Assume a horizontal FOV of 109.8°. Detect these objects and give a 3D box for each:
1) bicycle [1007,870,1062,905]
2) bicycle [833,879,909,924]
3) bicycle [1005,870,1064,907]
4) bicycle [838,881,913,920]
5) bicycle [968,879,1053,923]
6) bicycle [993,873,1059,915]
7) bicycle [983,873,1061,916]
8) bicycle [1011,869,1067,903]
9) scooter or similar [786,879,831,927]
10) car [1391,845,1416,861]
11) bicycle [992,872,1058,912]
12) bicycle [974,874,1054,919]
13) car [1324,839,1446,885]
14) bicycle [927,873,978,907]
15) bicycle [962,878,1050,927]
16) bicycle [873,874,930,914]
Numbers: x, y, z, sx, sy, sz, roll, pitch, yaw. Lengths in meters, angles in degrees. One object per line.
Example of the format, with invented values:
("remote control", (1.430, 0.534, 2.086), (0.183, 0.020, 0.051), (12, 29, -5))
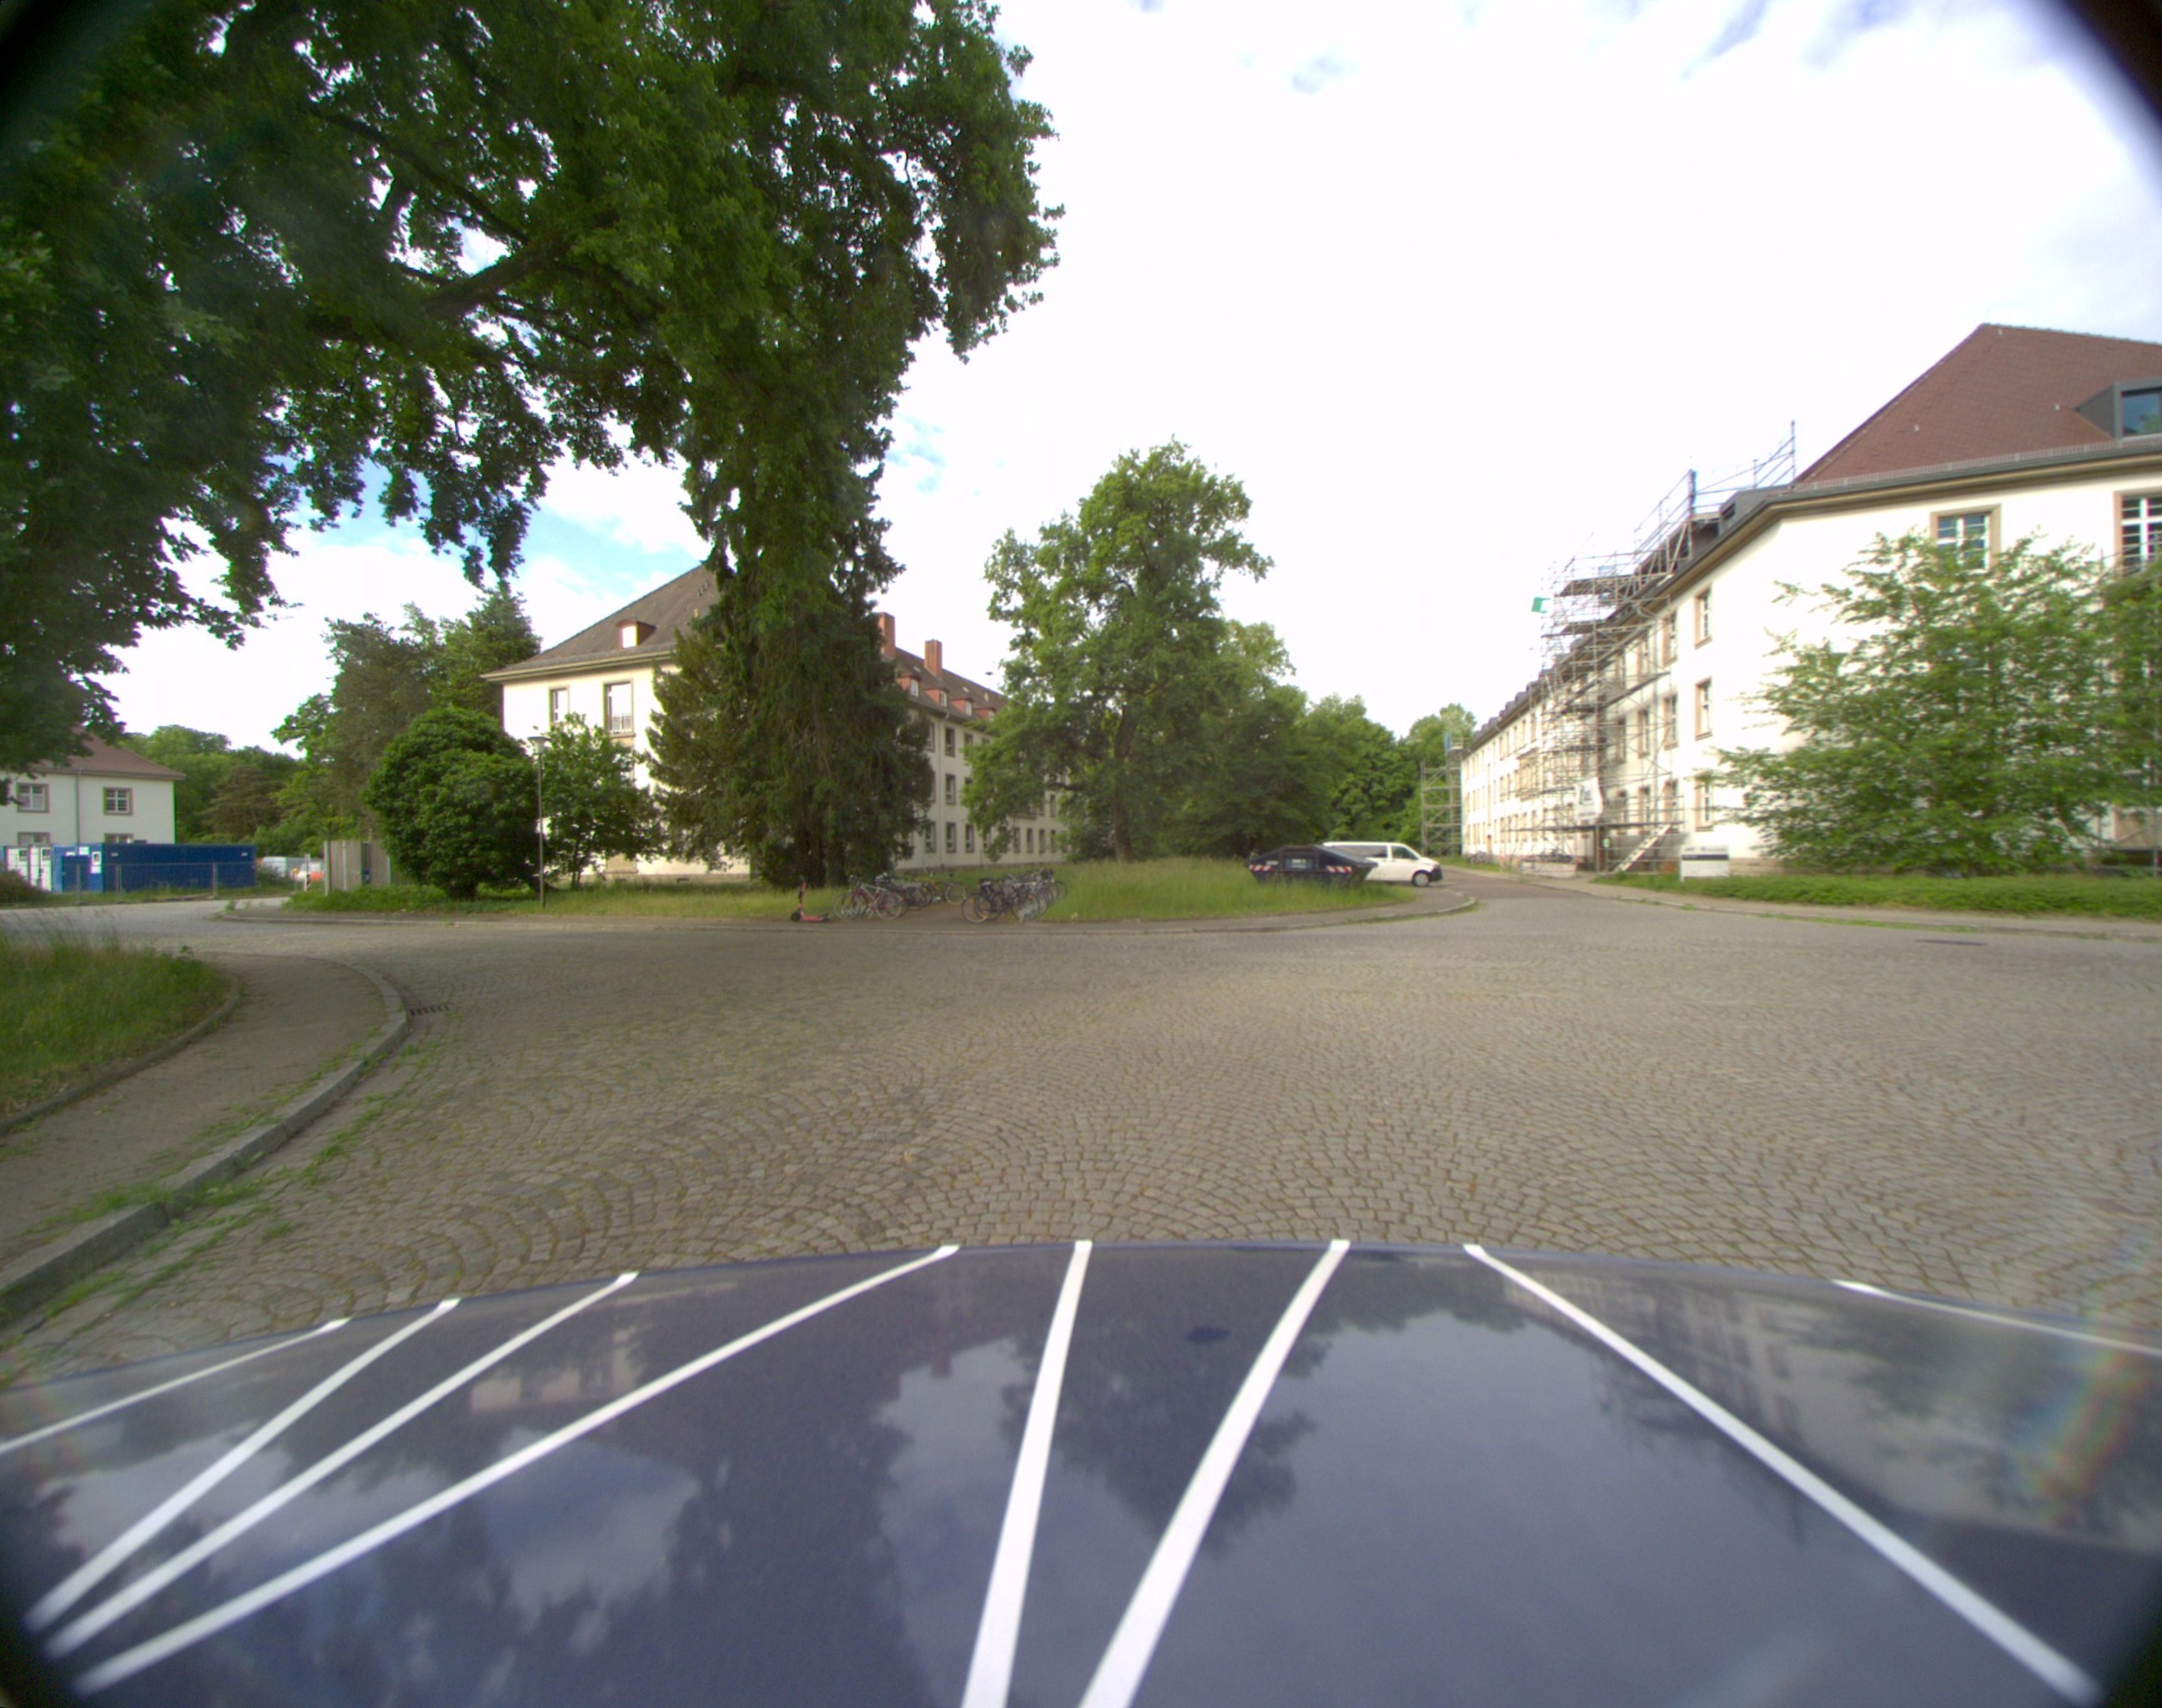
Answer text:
("bicycle", (-1.488, 1.071, 24.511), (1.750, 1.082, 0.553), (-1, 3, -3))
("bicycle", (-5.376, 1.205, 19.511), (1.813, 1.082, 0.478), (-1, 3, -8))
("bicycle", (-1.456, 1.077, 23.729), (1.807, 1.082, 0.553), (-1, 3, -3))
("bicycle", (-5.425, 1.221, 20.099), (1.856, 0.984, 0.456), (-1, 1, -8))
("bicycle", (-1.699, 1.138, 18.457), (2.017, 1.004, 0.478), (-1, 3, -3))
("bicycle", (-1.511, 1.103, 21.035), (1.788, 1.082, 0.478), (-1, 3, -3))
("bicycle", (-1.556, 1.071, 20.215), (2.017, 1.082, 0.478), (-1, 3, -3))
("bicycle", (-1.391, 1.059, 25.300), (1.824, 1.082, 0.553), (-1, 3, -3))
("scooter or similar", (-6.888, 1.230, 19.204), (1.061, 1.188, 0.386), (-1, 1, 22))
("car", (40.292, -0.153, 95.009), (2.025, 1.915, 4.002), (-1, 0, 8))
("bicycle", (-1.595, 1.096, 21.828), (1.865, 1.082, 0.519), (-1, 3, -3))
("bicycle", (-1.702, 1.094, 19.590), (2.017, 1.082, 0.478), (-1, 3, -3))
("car", (13.557, 0.374, 34.182), (4.909, 1.983, 2.002), (-1, 0, 17))
("bicycle", (-4.041, 1.126, 23.966), (1.565, 1.028, 0.476), (-1, 1, -5))
("bicycle", (-1.752, 1.137, 17.967), (2.017, 1.082, 0.478), (-1, 3, -3))
("bicycle", (-5.144, 1.149, 21.814), (1.566, 1.082, 0.561), (-1, 1, -12))
